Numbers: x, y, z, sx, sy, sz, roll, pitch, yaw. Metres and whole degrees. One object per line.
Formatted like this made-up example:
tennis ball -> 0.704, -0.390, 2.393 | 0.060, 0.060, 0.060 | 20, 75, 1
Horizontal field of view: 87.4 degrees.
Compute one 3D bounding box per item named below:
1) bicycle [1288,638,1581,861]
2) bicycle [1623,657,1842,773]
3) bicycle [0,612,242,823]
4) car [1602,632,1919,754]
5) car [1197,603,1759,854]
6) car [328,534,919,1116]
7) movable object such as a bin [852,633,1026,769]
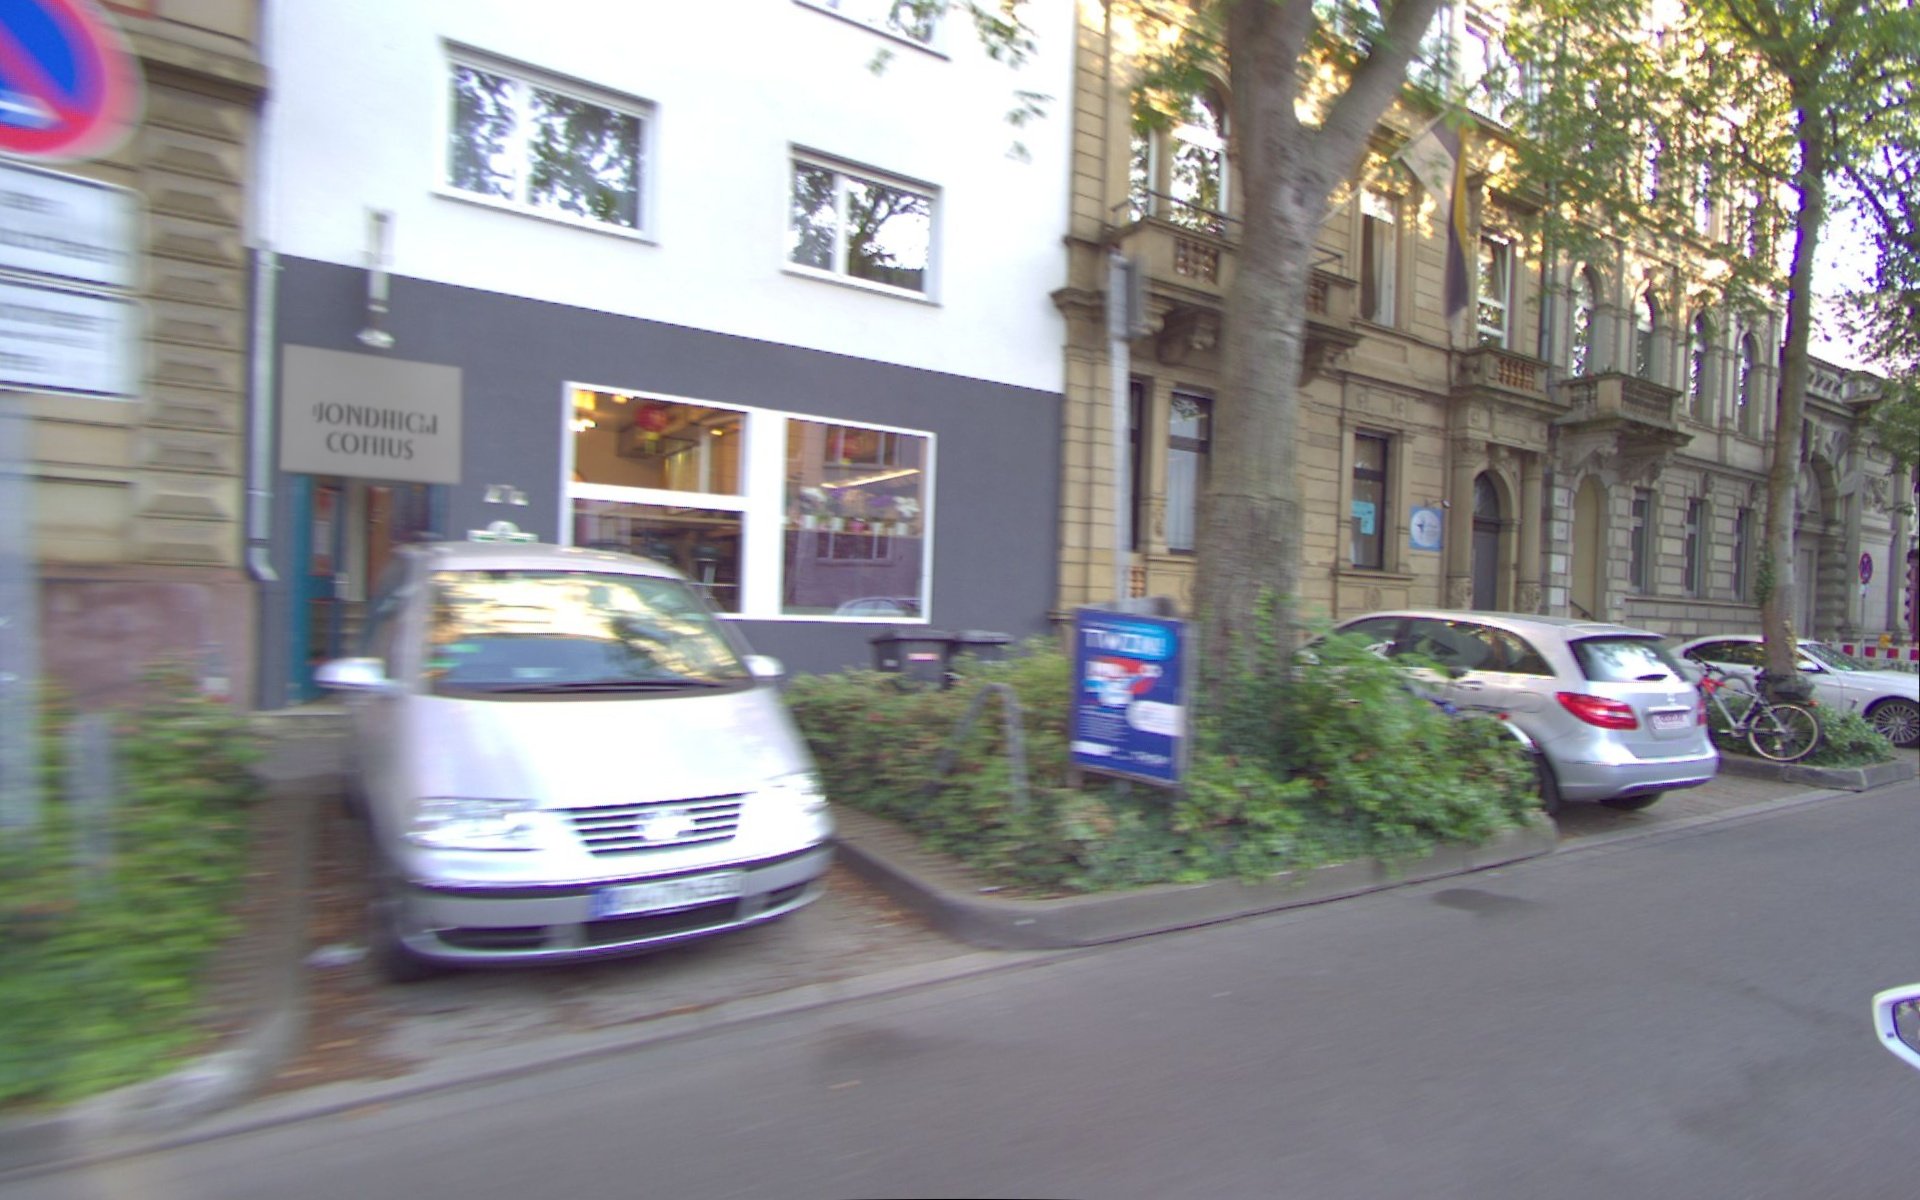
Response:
bicycle -> 3.458, 1.010, 7.468 | 0.767, 1.344, 1.780 | 2, 1, -37
bicycle -> 8.429, 1.215, 11.048 | 0.592, 1.022, 1.785 | 2, 1, -31
bicycle -> -5.247, 0.650, 5.771 | 1.781, 1.122, 0.495 | 2, 3, -34
car -> 12.531, 1.309, 15.073 | 1.894, 1.409, 4.491 | 2, 0, -30
car -> 4.251, 0.898, 8.993 | 1.804, 1.578, 4.152 | 2, 0, -29
car -> -2.186, 0.589, 5.352 | 1.871, 1.745, 4.397 | 2, 2, -34
movable object such as a bin -> -0.183, 0.852, 8.867 | 1.303, 1.076, 0.770 | 2, 0, -33
